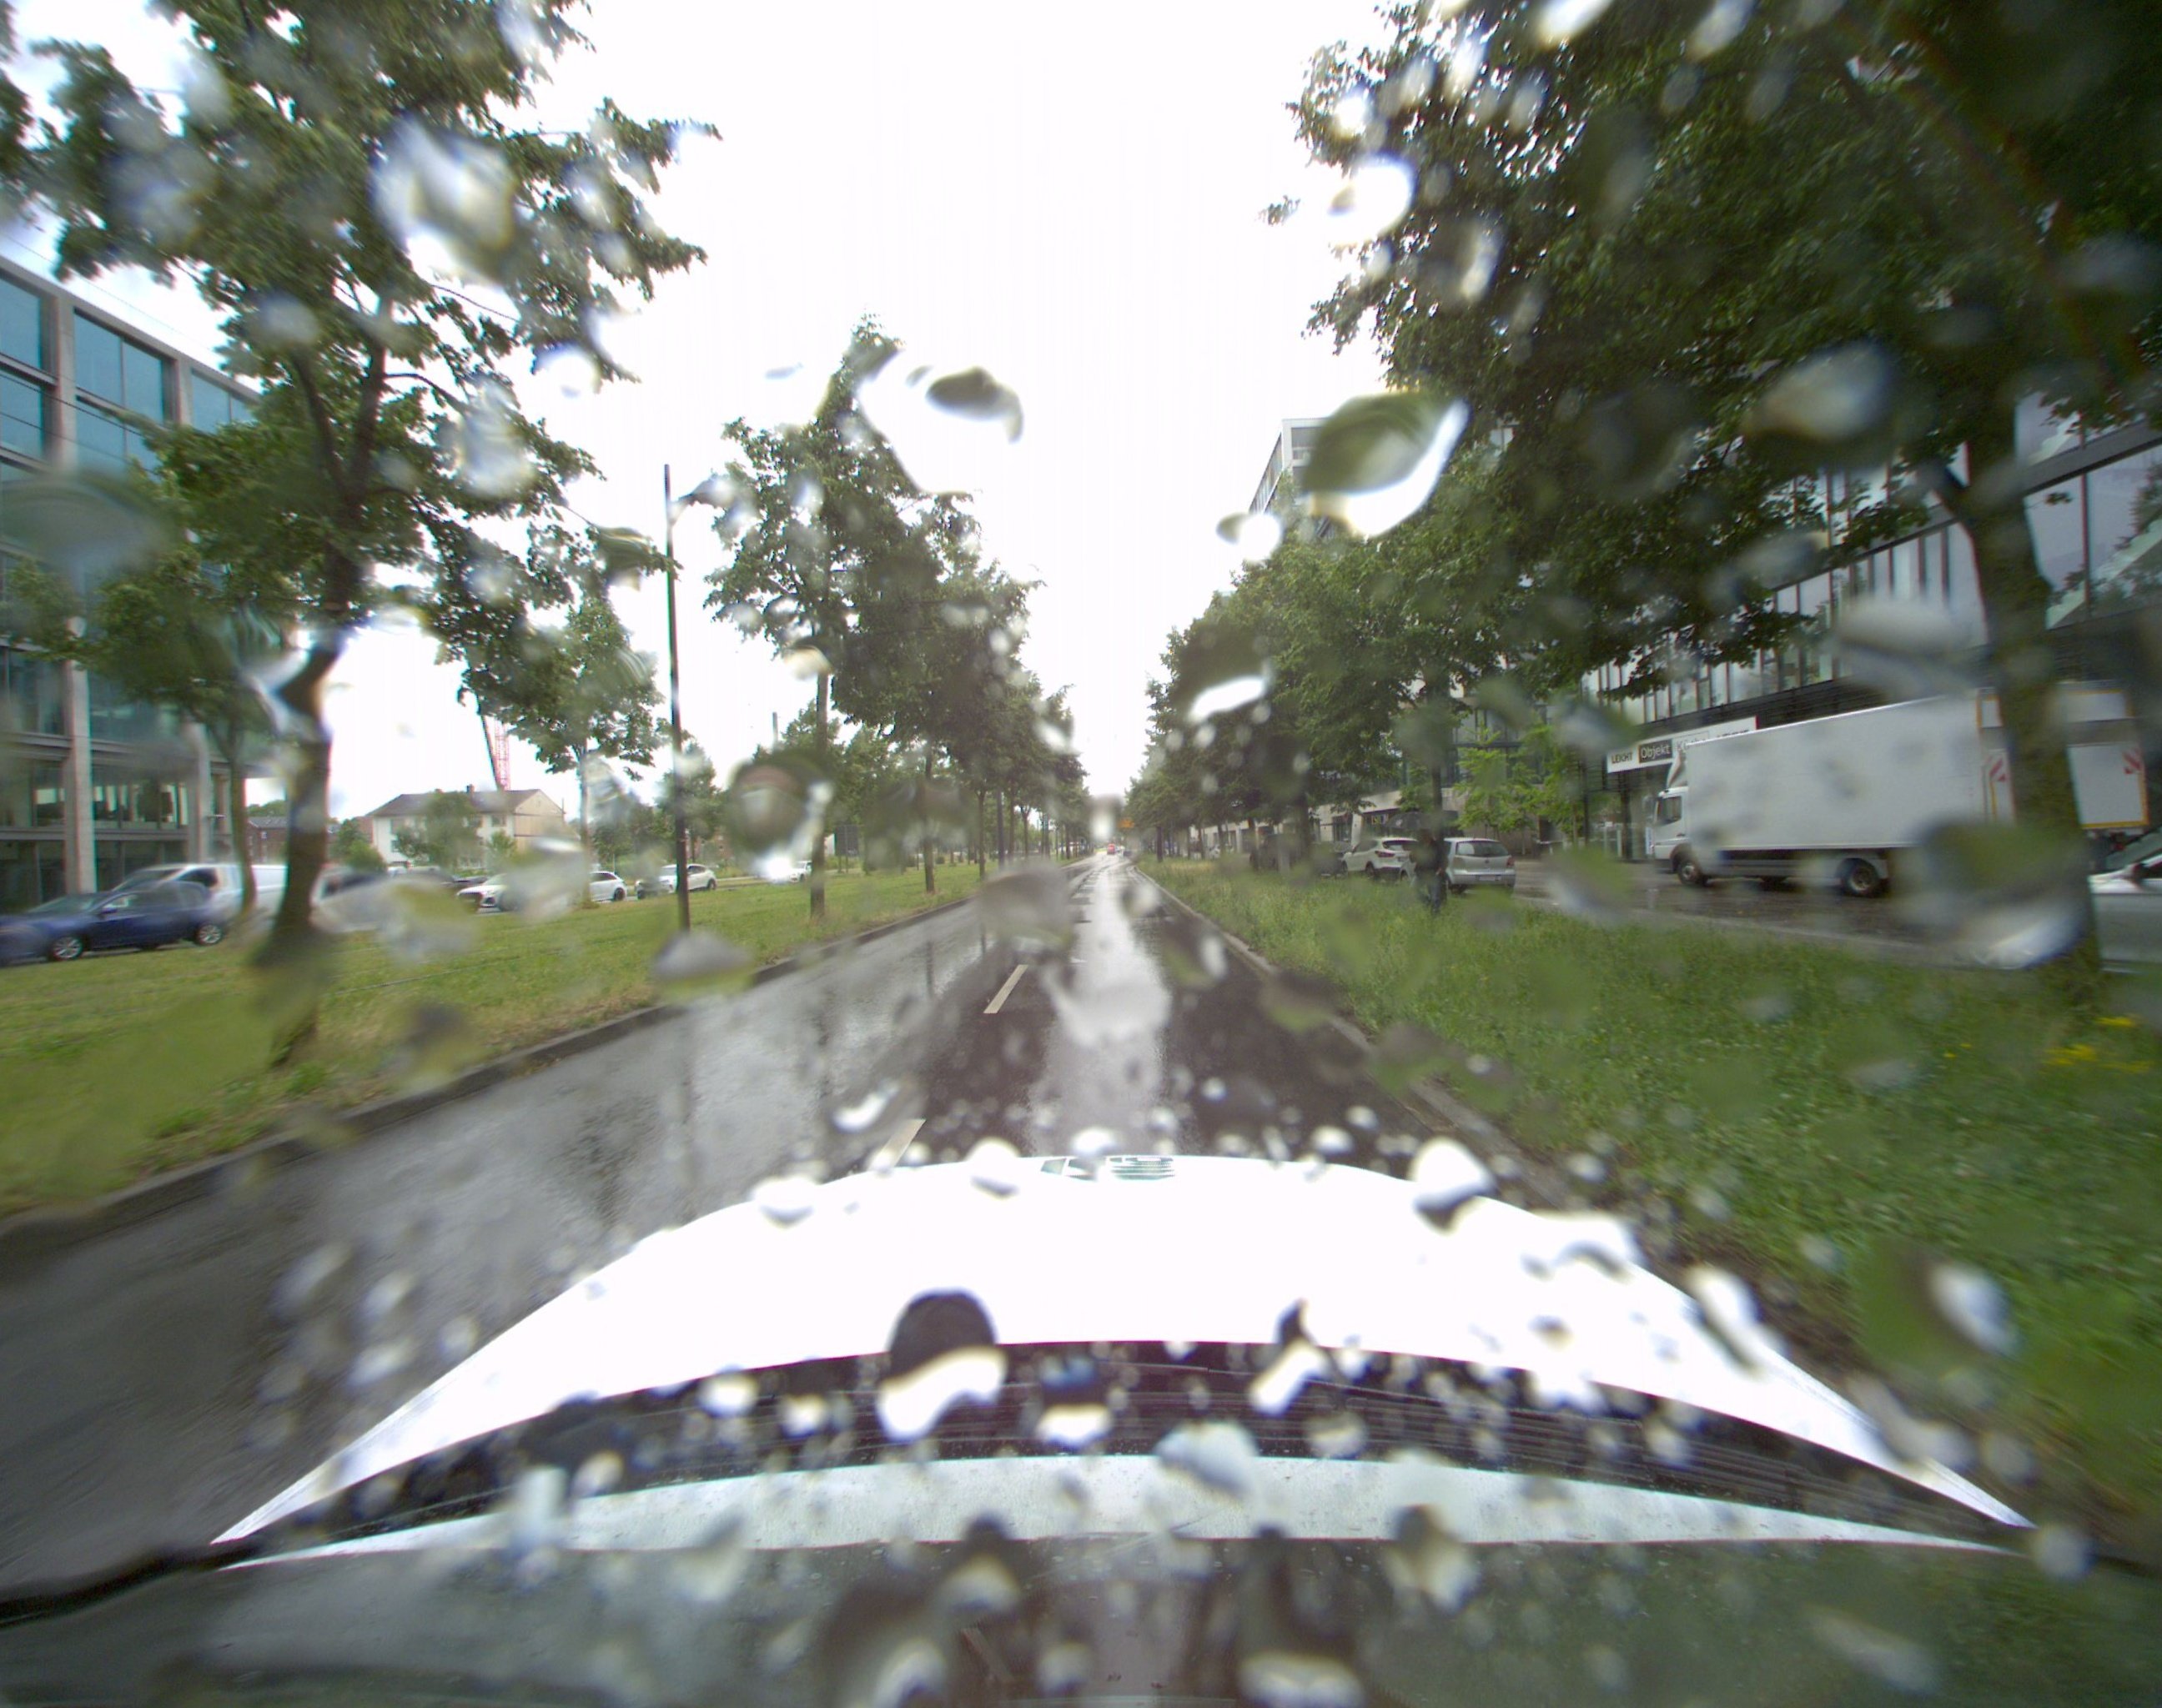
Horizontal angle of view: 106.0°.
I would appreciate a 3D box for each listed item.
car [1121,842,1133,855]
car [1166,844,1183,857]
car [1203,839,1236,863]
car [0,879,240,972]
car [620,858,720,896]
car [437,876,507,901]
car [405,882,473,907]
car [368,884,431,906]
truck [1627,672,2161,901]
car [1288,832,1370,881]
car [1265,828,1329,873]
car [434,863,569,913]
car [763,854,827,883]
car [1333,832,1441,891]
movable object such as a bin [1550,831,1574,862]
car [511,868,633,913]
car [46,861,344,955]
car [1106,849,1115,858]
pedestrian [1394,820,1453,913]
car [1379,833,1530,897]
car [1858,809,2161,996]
[{"bbox_3d":[8.206,-0.992,146.209,1.933,2.013,4.004,-2,2,2],"label":"car"},{"bbox_3d":[12.694,-0.441,110.732,1.874,1.505,4.727,-2,3,2],"label":"car"},{"bbox_3d":[10.956,-0.255,64.627,1.986,1.668,4.727,-2,3,2],"label":"car"},{"bbox_3d":[-21.709,1.494,17.999,1.943,1.494,3.966,-2,3,2],"label":"car"},{"bbox_3d":[-18.054,0.984,36.091,1.943,1.452,4.578,-2,0,2],"label":"car"},{"bbox_3d":[-39.637,2.210,53.077,1.493,1.239,3.666,-2,3,5],"label":"car"},{"bbox_3d":[-41.982,2.641,53.375,1.371,1.239,3.490,-2,3,6],"label":"car"},{"bbox_3d":[-44.591,2.656,53.351,1.180,1.067,3.226,-2,3,6],"label":"car"},{"bbox_3d":[15.677,-1.080,16.753,3.015,3.441,8.545,-2,0,-1],"label":"truck"},{"bbox_3d":[10.006,0.034,33.297,1.986,1.668,4.962,-2,3,2],"label":"car"},{"bbox_3d":[10.564,-0.251,40.262,1.986,1.952,5.033,-2,3,2],"label":"car"},{"bbox_3d":[-23.738,1.331,33.616,1.941,1.749,4.583,-2,0,5],"label":"car"},{"bbox_3d":[-18.445,0.905,52.805,1.941,1.460,4.840,-2,3,6],"label":"car"},{"bbox_3d":[10.081,0.167,27.257,1.986,1.668,4.727,-2,3,2],"label":"car"},{"bbox_3d":[21.044,-0.332,35.634,0.606,1.276,0.648,-2,2,-2],"label":"movable object such as a bin"},{"bbox_3d":[-20.708,1.435,33.404,1.943,1.513,4.578,-2,0,2],"label":"car"},{"bbox_3d":[-24.617,1.385,23.075,2.258,2.006,5.379,-2,3,3],"label":"car"},{"bbox_3d":[7.382,-0.100,201.711,1.984,2.013,4.006,-2,2,4],"label":"car"},{"bbox_3d":[5.690,0.196,13.553,0.640,1.493,0.700,-2,0,0],"label":"pedestrian"},{"bbox_3d":[9.606,0.212,21.416,1.764,1.452,4.723,-1,1,0],"label":"car"},{"bbox_3d":[9.314,0.344,6.076,1.988,1.444,5.235,-2,0,-1],"label":"car"}]
